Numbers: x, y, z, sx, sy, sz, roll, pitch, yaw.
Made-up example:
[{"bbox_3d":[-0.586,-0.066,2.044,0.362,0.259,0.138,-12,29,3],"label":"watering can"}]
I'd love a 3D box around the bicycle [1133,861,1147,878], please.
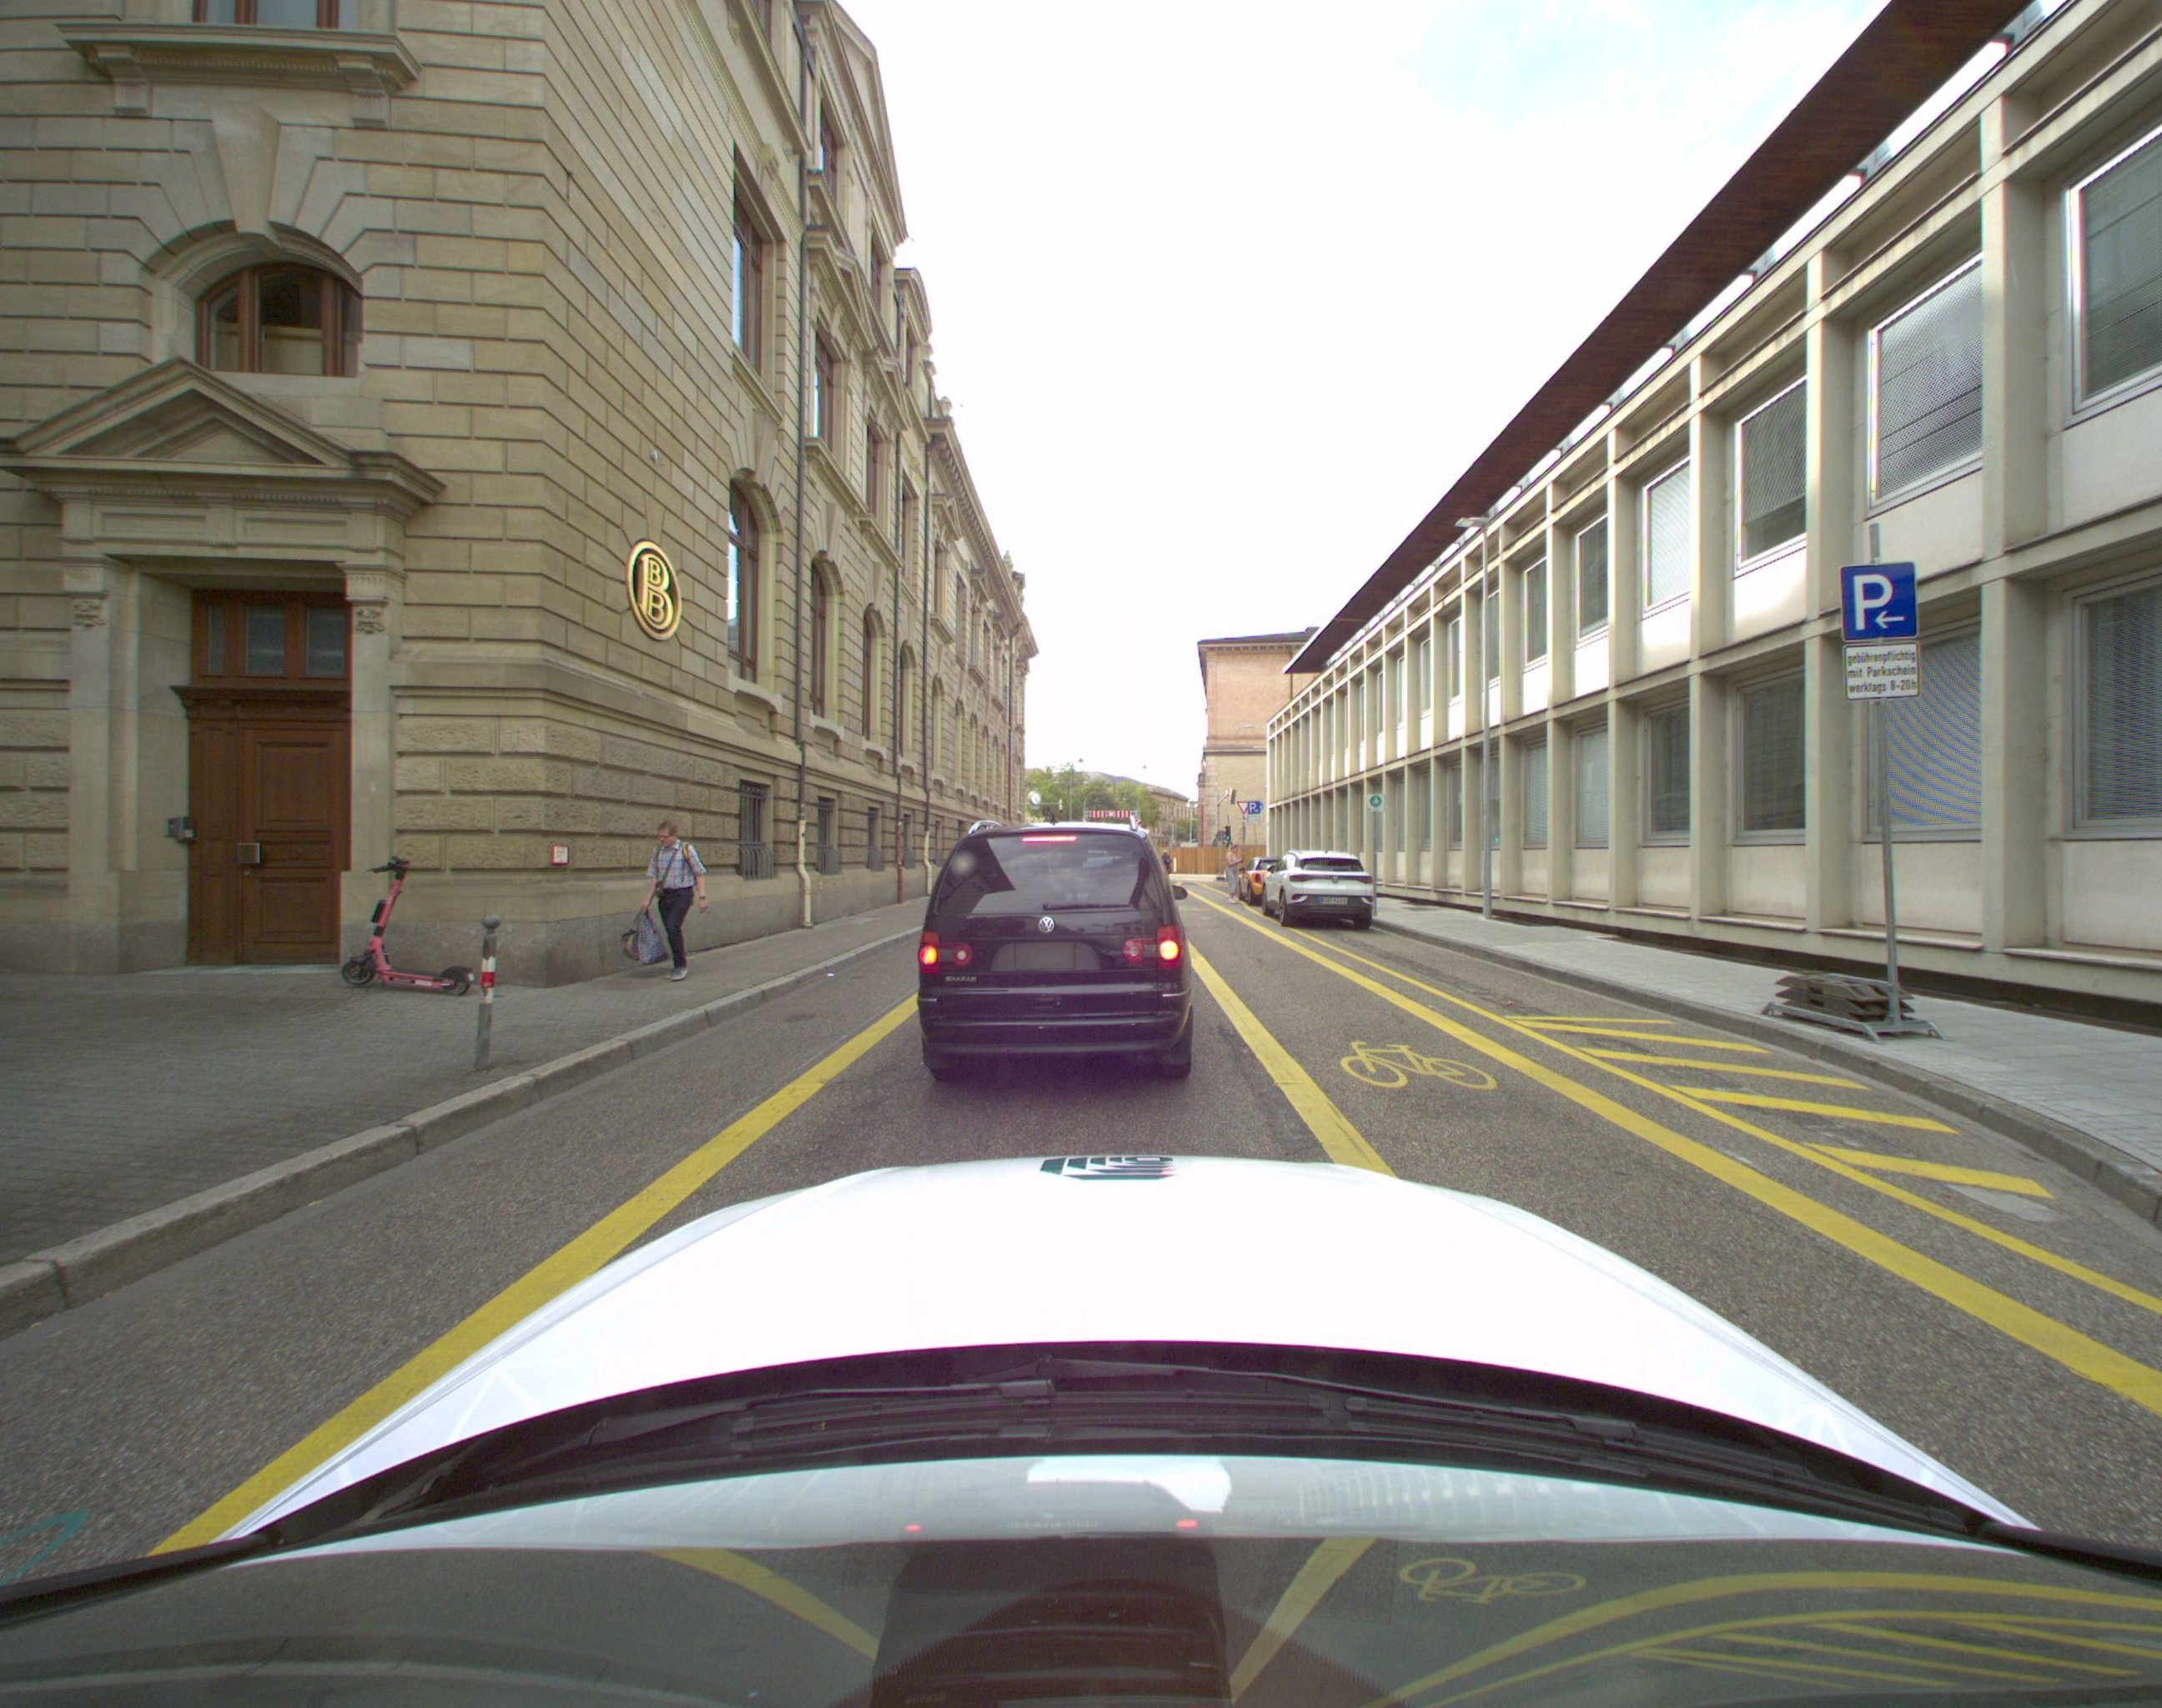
[{"bbox_3d":[3.465,0.903,47.915,0.732,1.009,2.069,0,-1,2],"label":"bicycle"}]

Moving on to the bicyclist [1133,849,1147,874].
[{"bbox_3d":[3.470,0.459,47.927,0.732,1.470,0.809,0,-1,1],"label":"bicyclist"}]

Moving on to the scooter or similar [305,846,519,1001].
[{"bbox_3d":[-6.181,0.616,7.569,1.441,1.310,0.587,3,1,0],"label":"scooter or similar"}]

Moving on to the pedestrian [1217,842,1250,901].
[{"bbox_3d":[4.629,0.524,24.774,0.707,1.764,0.694,0,-1,-25],"label":"pedestrian"}]

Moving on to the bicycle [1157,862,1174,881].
[{"bbox_3d":[4.544,0.918,43.888,0.732,1.009,2.069,0,-1,2],"label":"bicycle"}]

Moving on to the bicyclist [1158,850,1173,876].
[{"bbox_3d":[4.544,0.491,43.876,0.732,1.375,0.832,0,-1,1],"label":"bicyclist"}]

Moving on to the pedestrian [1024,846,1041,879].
[{"bbox_3d":[-2.758,0.475,46.209,0.789,1.819,1.048,2,-1,2],"label":"pedestrian"}]

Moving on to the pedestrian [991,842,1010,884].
[{"bbox_3d":[-3.589,0.382,36.212,0.661,1.819,1.048,2,-1,2],"label":"pedestrian"}]

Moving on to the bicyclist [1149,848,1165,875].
[{"bbox_3d":[3.887,0.398,41.625,0.732,1.377,0.829,0,-1,1],"label":"bicyclist"}]

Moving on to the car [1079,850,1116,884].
[{"bbox_3d":[0.841,0.638,40.398,1.766,1.586,4.001,0,-1,2],"label":"car"}]

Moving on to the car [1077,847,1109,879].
[{"bbox_3d":[0.661,0.524,47.413,1.729,1.790,4.101,0,0,-1],"label":"car"}]

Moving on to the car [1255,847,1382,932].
[{"bbox_3d":[5.232,0.712,18.526,1.851,1.605,4.518,3,0,5],"label":"car"}]

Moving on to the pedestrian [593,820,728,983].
[{"bbox_3d":[-4.717,0.516,9.202,1.022,1.720,0.819,2,-1,1],"label":"pedestrian"}]

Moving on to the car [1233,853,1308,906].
[{"bbox_3d":[5.756,0.746,25.141,1.672,1.435,3.891,3,0,5],"label":"car"}]

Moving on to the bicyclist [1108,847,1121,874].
[{"bbox_3d":[1.969,0.385,47.733,0.733,1.611,0.694,0,-1,-1],"label":"bicyclist"}]

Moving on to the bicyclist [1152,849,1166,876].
[{"bbox_3d":[4.671,0.500,48.760,0.732,1.555,0.896,0,-1,1],"label":"bicyclist"}]

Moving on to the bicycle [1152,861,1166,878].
[{"bbox_3d":[4.669,0.912,48.859,0.732,1.009,2.069,0,-1,2],"label":"bicycle"}]

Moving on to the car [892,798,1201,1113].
[{"bbox_3d":[-0.037,0.587,6.738,1.781,1.790,4.108,0,0,5],"label":"car"}]

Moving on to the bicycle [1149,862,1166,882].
[{"bbox_3d":[3.883,0.906,41.615,0.732,1.009,2.069,0,-1,2],"label":"bicycle"}]

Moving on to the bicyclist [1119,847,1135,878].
[{"bbox_3d":[2.156,0.399,38.240,0.732,1.478,0.885,0,-1,1],"label":"bicyclist"}]

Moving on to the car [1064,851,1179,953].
[{"bbox_3d":[0.754,0.699,13.837,1.670,1.469,4.108,0,0,5],"label":"car"}]
